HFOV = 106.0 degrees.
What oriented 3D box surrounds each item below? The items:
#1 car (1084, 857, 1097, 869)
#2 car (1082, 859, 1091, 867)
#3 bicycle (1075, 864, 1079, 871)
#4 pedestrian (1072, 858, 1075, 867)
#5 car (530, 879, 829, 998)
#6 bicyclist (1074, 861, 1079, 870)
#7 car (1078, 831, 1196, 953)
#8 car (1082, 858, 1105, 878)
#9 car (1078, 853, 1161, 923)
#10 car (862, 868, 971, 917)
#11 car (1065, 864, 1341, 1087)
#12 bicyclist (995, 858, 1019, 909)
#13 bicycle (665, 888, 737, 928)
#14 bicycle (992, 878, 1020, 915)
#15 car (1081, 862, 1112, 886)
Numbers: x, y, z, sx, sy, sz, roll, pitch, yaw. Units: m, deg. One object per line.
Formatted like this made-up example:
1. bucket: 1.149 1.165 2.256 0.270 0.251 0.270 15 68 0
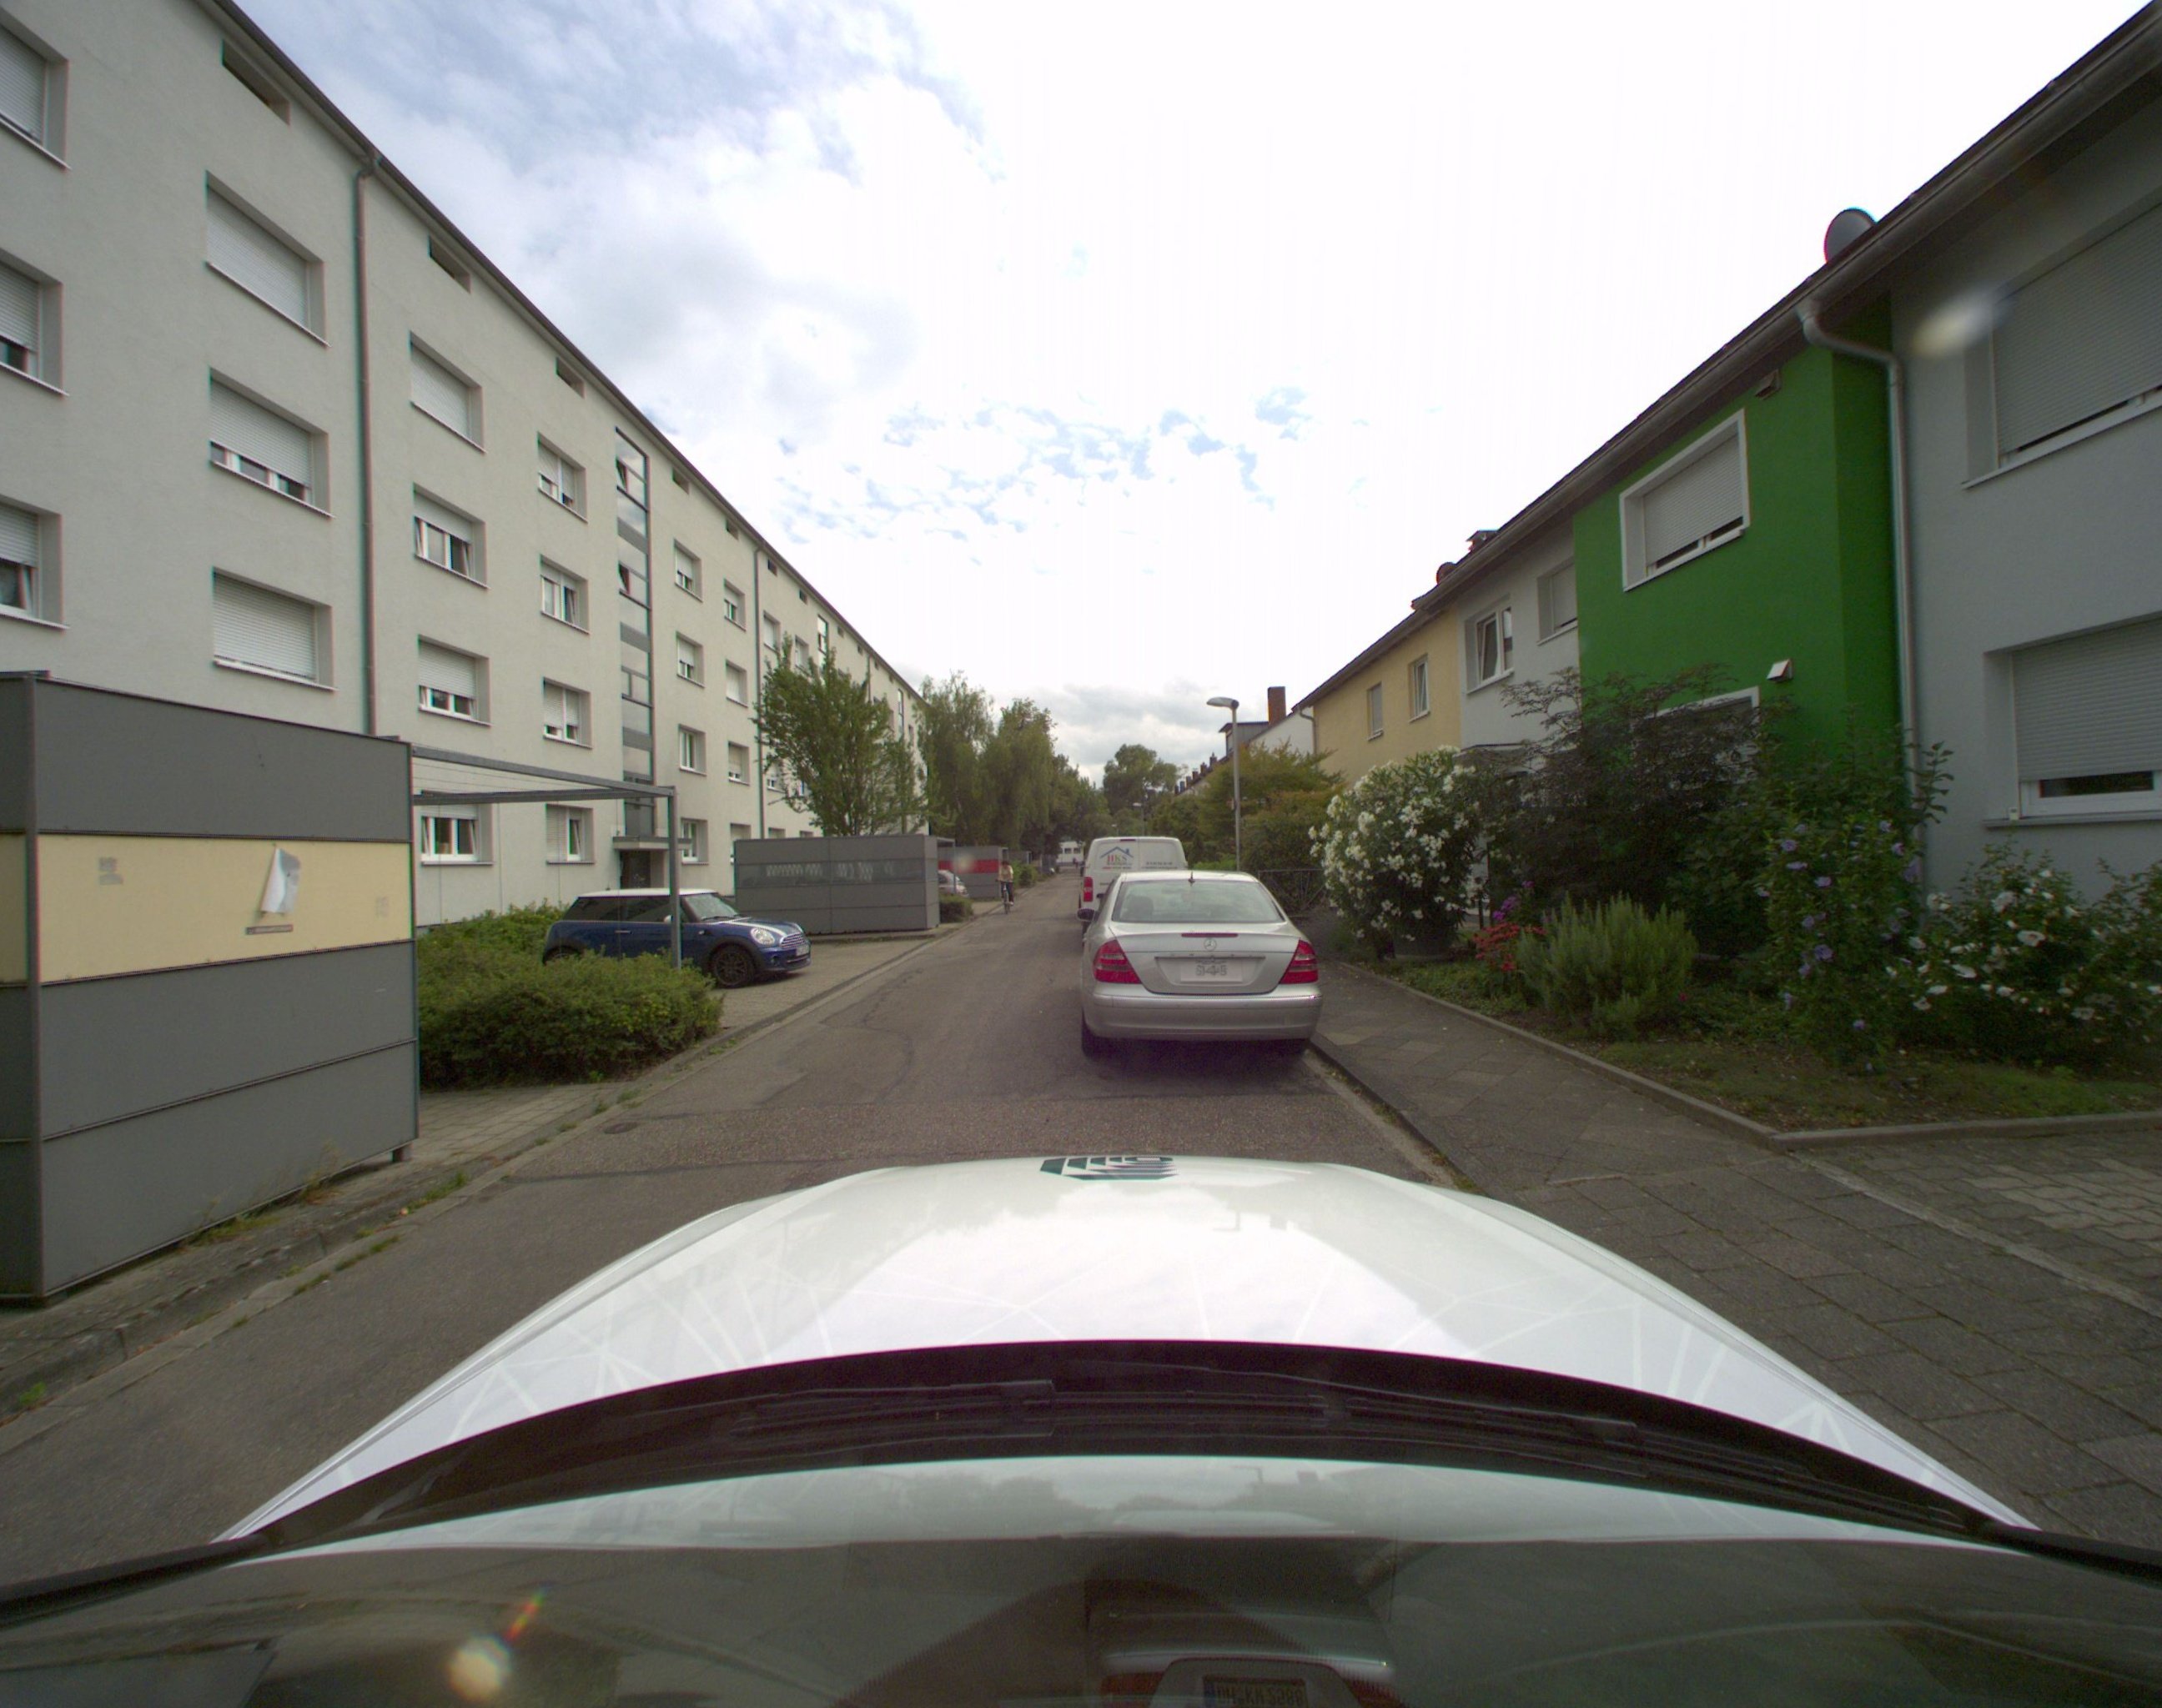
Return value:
1. car: 1.455 1.336 124.571 1.819 1.883 4.000 0 0 1
2. car: 1.206 1.806 165.496 1.819 1.581 4.000 0 0 1
3. bicycle: -0.699 2.343 141.756 0.686 1.131 2.580 0 -1 2
4. pedestrian: -1.581 1.817 169.548 0.774 1.805 0.547 0 -1 -1
5. car: -5.910 1.211 12.256 3.619 1.461 1.654 -3 -1 3
6. bicyclist: -0.705 2.004 141.692 0.795 1.511 0.934 0 -1 2
7. car: 0.910 0.642 15.922 1.898 1.964 5.252 -1 -1 0
8. car: 0.996 1.145 67.617 1.820 1.581 3.998 0 0 -1
9. car: 0.912 0.834 21.585 1.820 1.636 4.158 -1 -1 -3
10. car: -5.816 1.350 29.142 3.555 1.480 1.708 -3 0 -5
11. car: 0.867 0.819 7.543 1.777 1.421 4.457 -1 -1 2
12. bicyclist: -2.387 0.953 26.385 0.595 1.581 0.767 -3 -1 1
13. bicycle: -11.018 1.549 23.651 1.820 1.024 0.473 -2 -1 -41
14. bicycle: -2.375 1.343 26.117 0.595 1.076 2.043 -3 -1 2
15. car: 0.922 1.205 49.263 1.819 1.370 4.331 0 0 1
